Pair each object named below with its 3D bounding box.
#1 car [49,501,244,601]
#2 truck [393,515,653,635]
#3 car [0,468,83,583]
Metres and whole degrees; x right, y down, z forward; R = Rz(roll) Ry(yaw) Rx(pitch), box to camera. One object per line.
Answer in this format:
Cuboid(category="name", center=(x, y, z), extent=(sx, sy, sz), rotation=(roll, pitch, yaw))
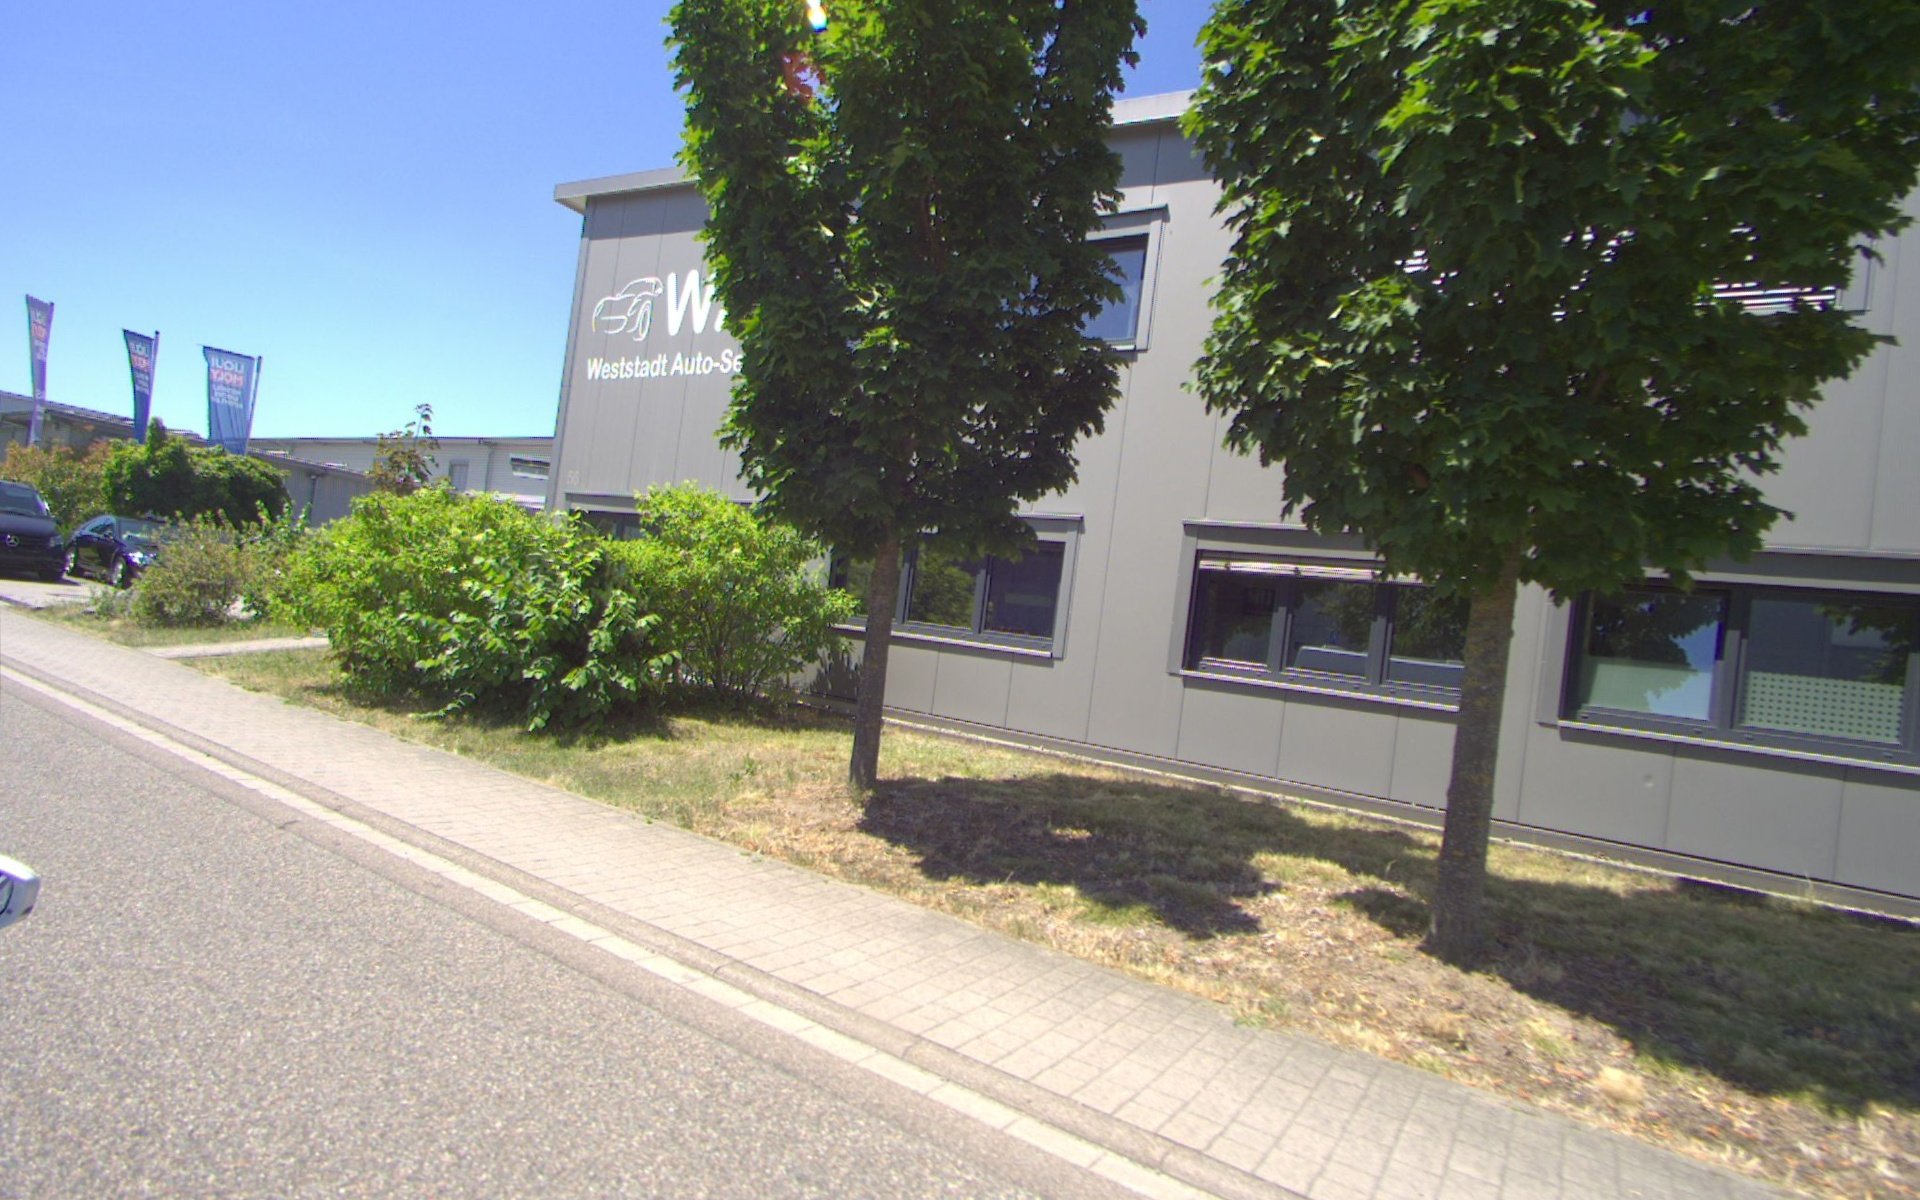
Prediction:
Cuboid(category="car", center=(-17.839, -1.094, 22.005), extent=(4.517, 1.554, 1.996), rotation=(8, -1, 34))
Cuboid(category="truck", center=(-11.351, -0.554, 26.682), extent=(2.146, 2.398, 5.939), rotation=(6, -2, 34))
Cuboid(category="car", center=(-20.265, -1.688, 20.655), extent=(5.252, 2.037, 1.996), rotation=(6, -2, 34))
